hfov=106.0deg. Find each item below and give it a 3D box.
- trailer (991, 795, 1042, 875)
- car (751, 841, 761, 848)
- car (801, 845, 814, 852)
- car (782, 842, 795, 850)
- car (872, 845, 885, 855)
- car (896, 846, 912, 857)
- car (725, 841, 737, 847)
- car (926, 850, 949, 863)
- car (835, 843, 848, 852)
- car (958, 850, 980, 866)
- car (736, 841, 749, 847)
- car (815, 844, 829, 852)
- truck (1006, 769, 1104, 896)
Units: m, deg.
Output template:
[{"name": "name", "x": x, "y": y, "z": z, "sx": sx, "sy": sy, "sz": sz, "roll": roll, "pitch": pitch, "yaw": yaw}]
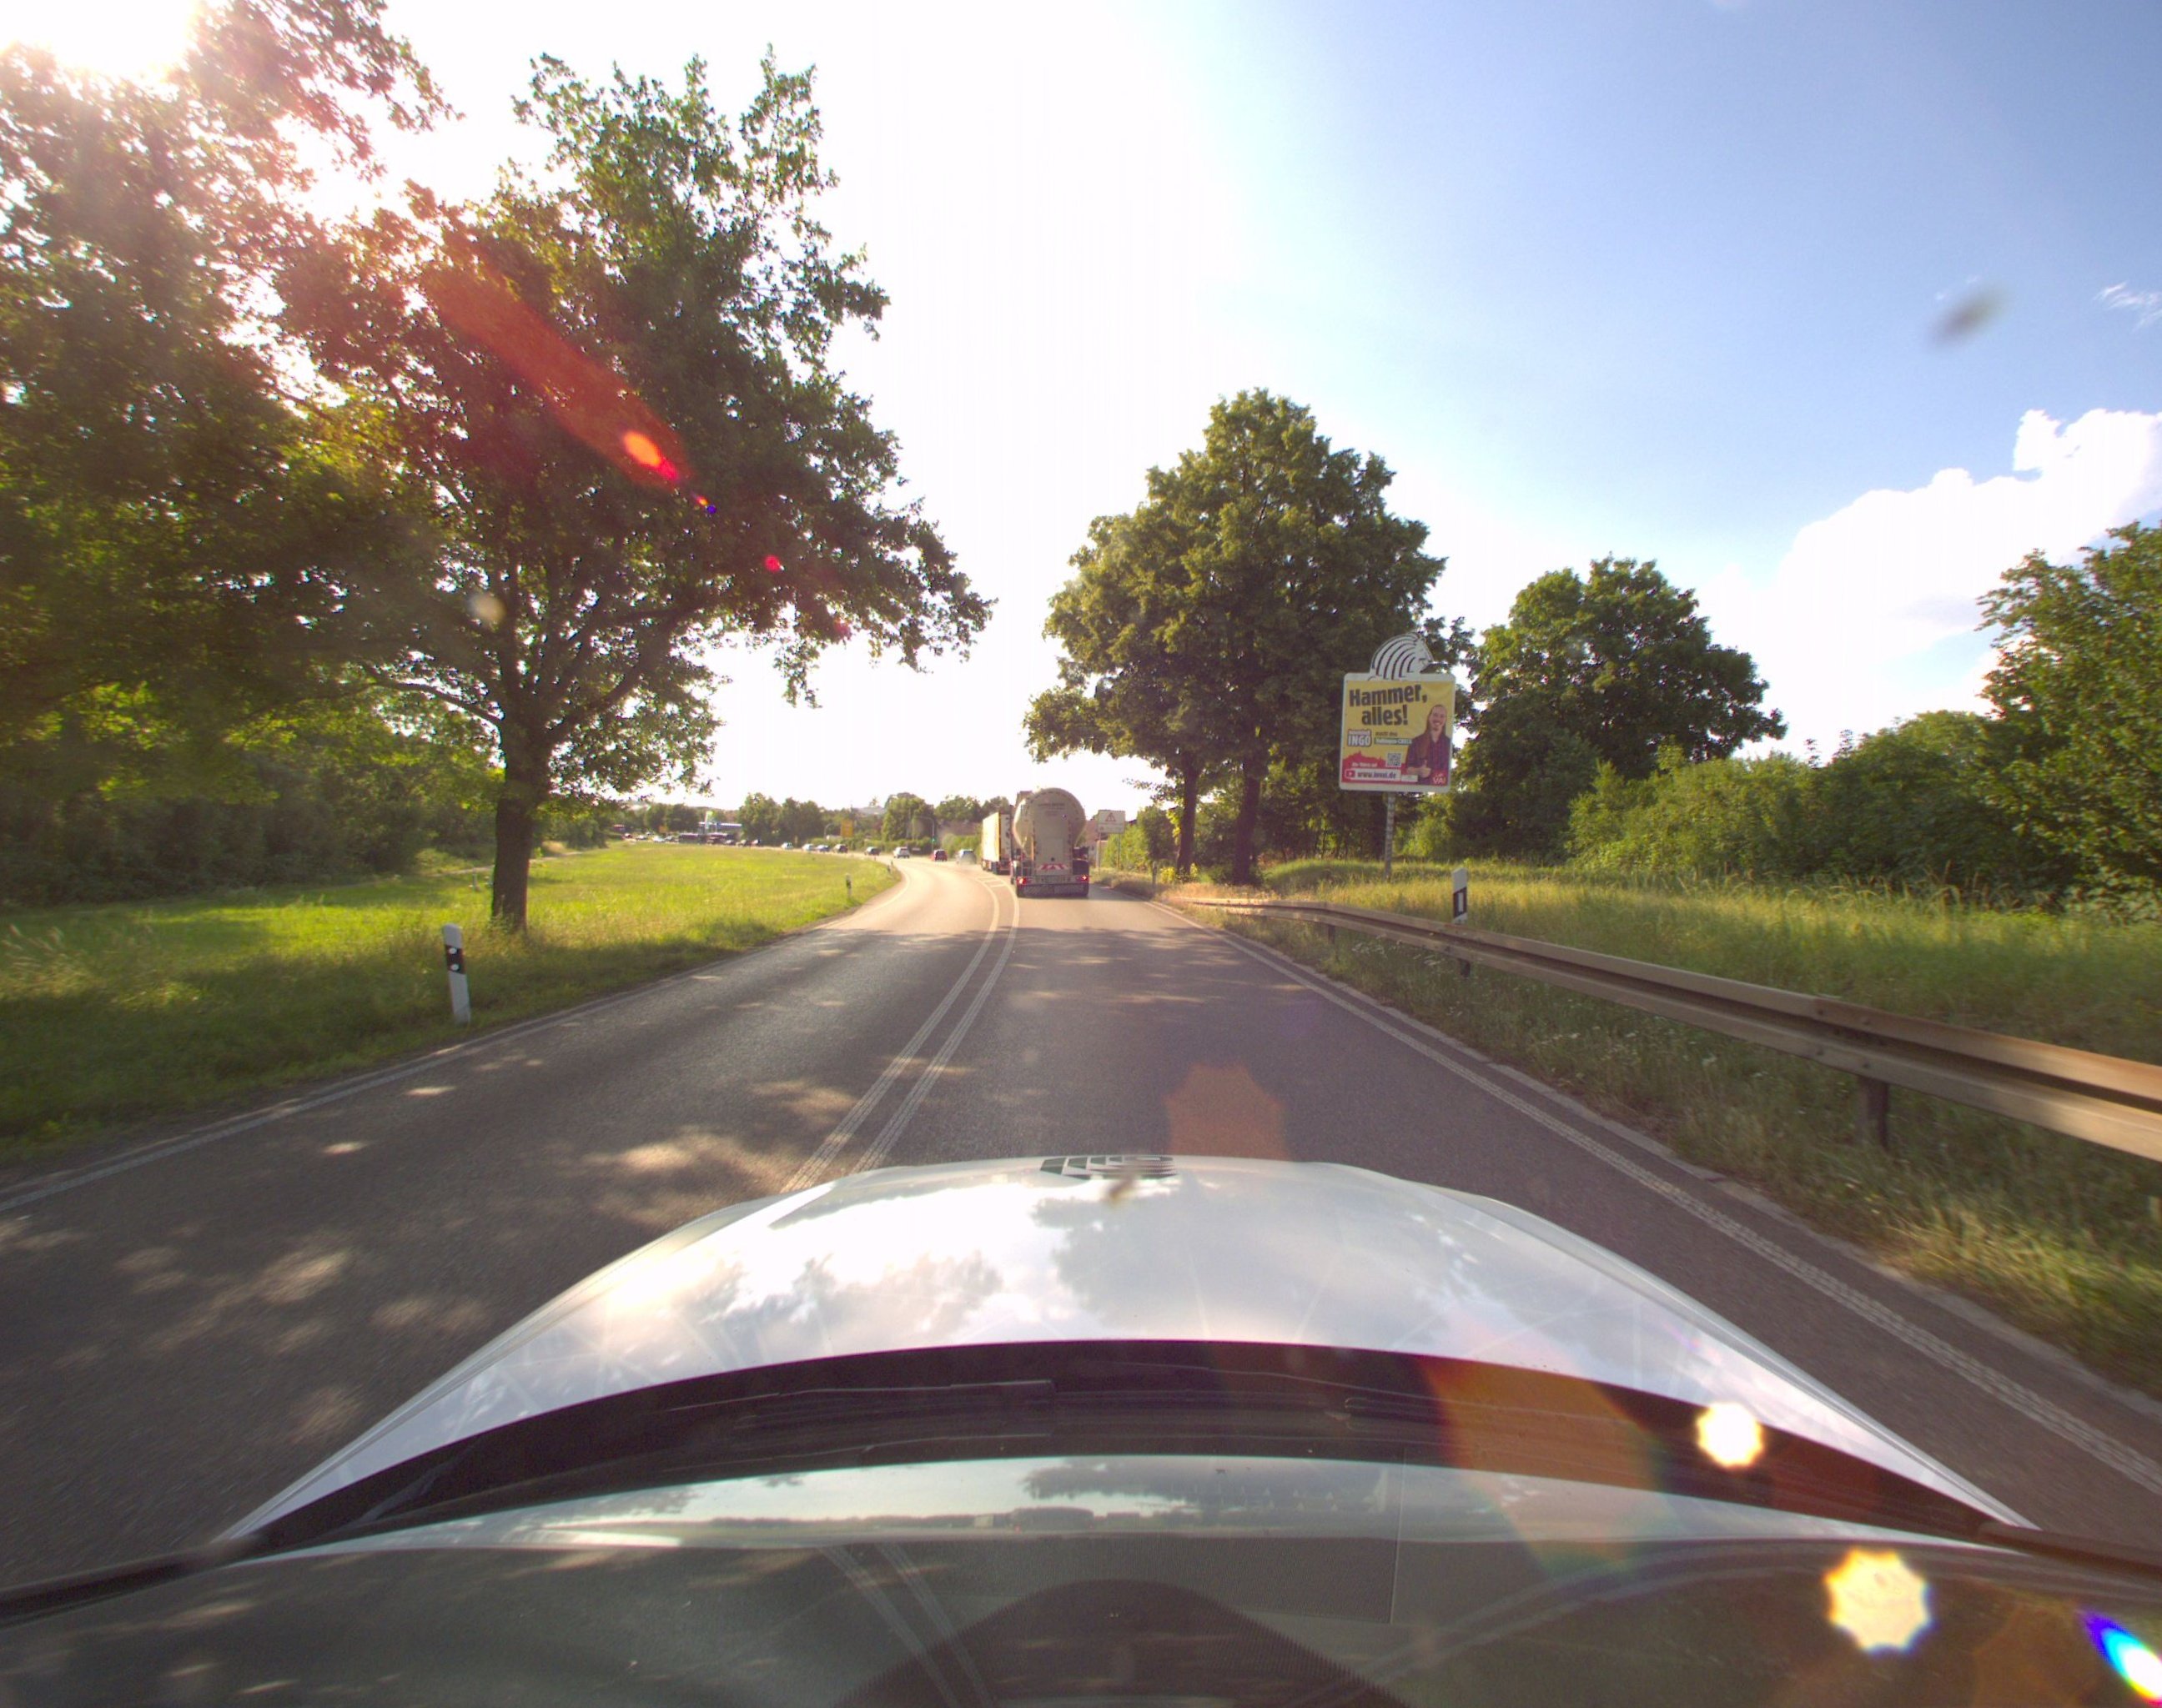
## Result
[{"name": "trailer", "x": -4.519, "y": -1.127, "z": 55.013, "sx": 2.962, "sy": 4.882, "sz": 10.260, "roll": 0, "pitch": 0, "yaw": -7}, {"name": "car", "x": -82.824, "y": -2.498, "z": 207.331, "sx": 1.739, "sy": 1.656, "sz": 3.832, "roll": 0, "pitch": -1, "yaw": -33}, {"name": "car", "x": -59.187, "y": -1.197, "z": 176.343, "sx": 1.691, "sy": 1.559, "sz": 3.831, "roll": 0, "pitch": -1, "yaw": -35}, {"name": "car", "x": -67.643, "y": -1.889, "z": 188.076, "sx": 1.990, "sy": 1.656, "sz": 3.831, "roll": 0, "pitch": -1, "yaw": -35}, {"name": "car", "x": -35.088, "y": -0.665, "z": 141.153, "sx": 1.526, "sy": 1.656, "sz": 3.842, "roll": 0, "pitch": -1, "yaw": -24}, {"name": "car", "x": -27.395, "y": -0.423, "z": 125.819, "sx": 1.847, "sy": 1.656, "sz": 3.973, "roll": 0, "pitch": -1, "yaw": -20}, {"name": "car", "x": -91.559, "y": -2.570, "z": 213.040, "sx": 2.102, "sy": 1.599, "sz": 3.954, "roll": 0, "pitch": 1, "yaw": -39}, {"name": "car", "x": -18.514, "y": 0.317, "z": 104.958, "sx": 2.305, "sy": 1.656, "sz": 4.389, "roll": 0, "pitch": 0, "yaw": -17}, {"name": "car", "x": -47.000, "y": -1.219, "z": 159.908, "sx": 1.529, "sy": 1.656, "sz": 3.835, "roll": 0, "pitch": -1, "yaw": -30}, {"name": "car", "x": -12.129, "y": 0.443, "z": 87.965, "sx": 1.996, "sy": 1.656, "sz": 3.982, "roll": 0, "pitch": 0, "yaw": -13}, {"name": "car", "x": -85.293, "y": -2.496, "z": 205.286, "sx": 2.102, "sy": 1.599, "sz": 3.954, "roll": 0, "pitch": 1, "yaw": -39}, {"name": "car", "x": -53.664, "y": -1.165, "z": 168.754, "sx": 1.691, "sy": 1.559, "sz": 3.831, "roll": 0, "pitch": -1, "yaw": -35}, {"name": "truck", "x": -1.375, "y": -0.666, "z": 32.810, "sx": 2.973, "sy": 4.175, "sz": 11.634, "roll": 0, "pitch": 0, "yaw": -7}]
